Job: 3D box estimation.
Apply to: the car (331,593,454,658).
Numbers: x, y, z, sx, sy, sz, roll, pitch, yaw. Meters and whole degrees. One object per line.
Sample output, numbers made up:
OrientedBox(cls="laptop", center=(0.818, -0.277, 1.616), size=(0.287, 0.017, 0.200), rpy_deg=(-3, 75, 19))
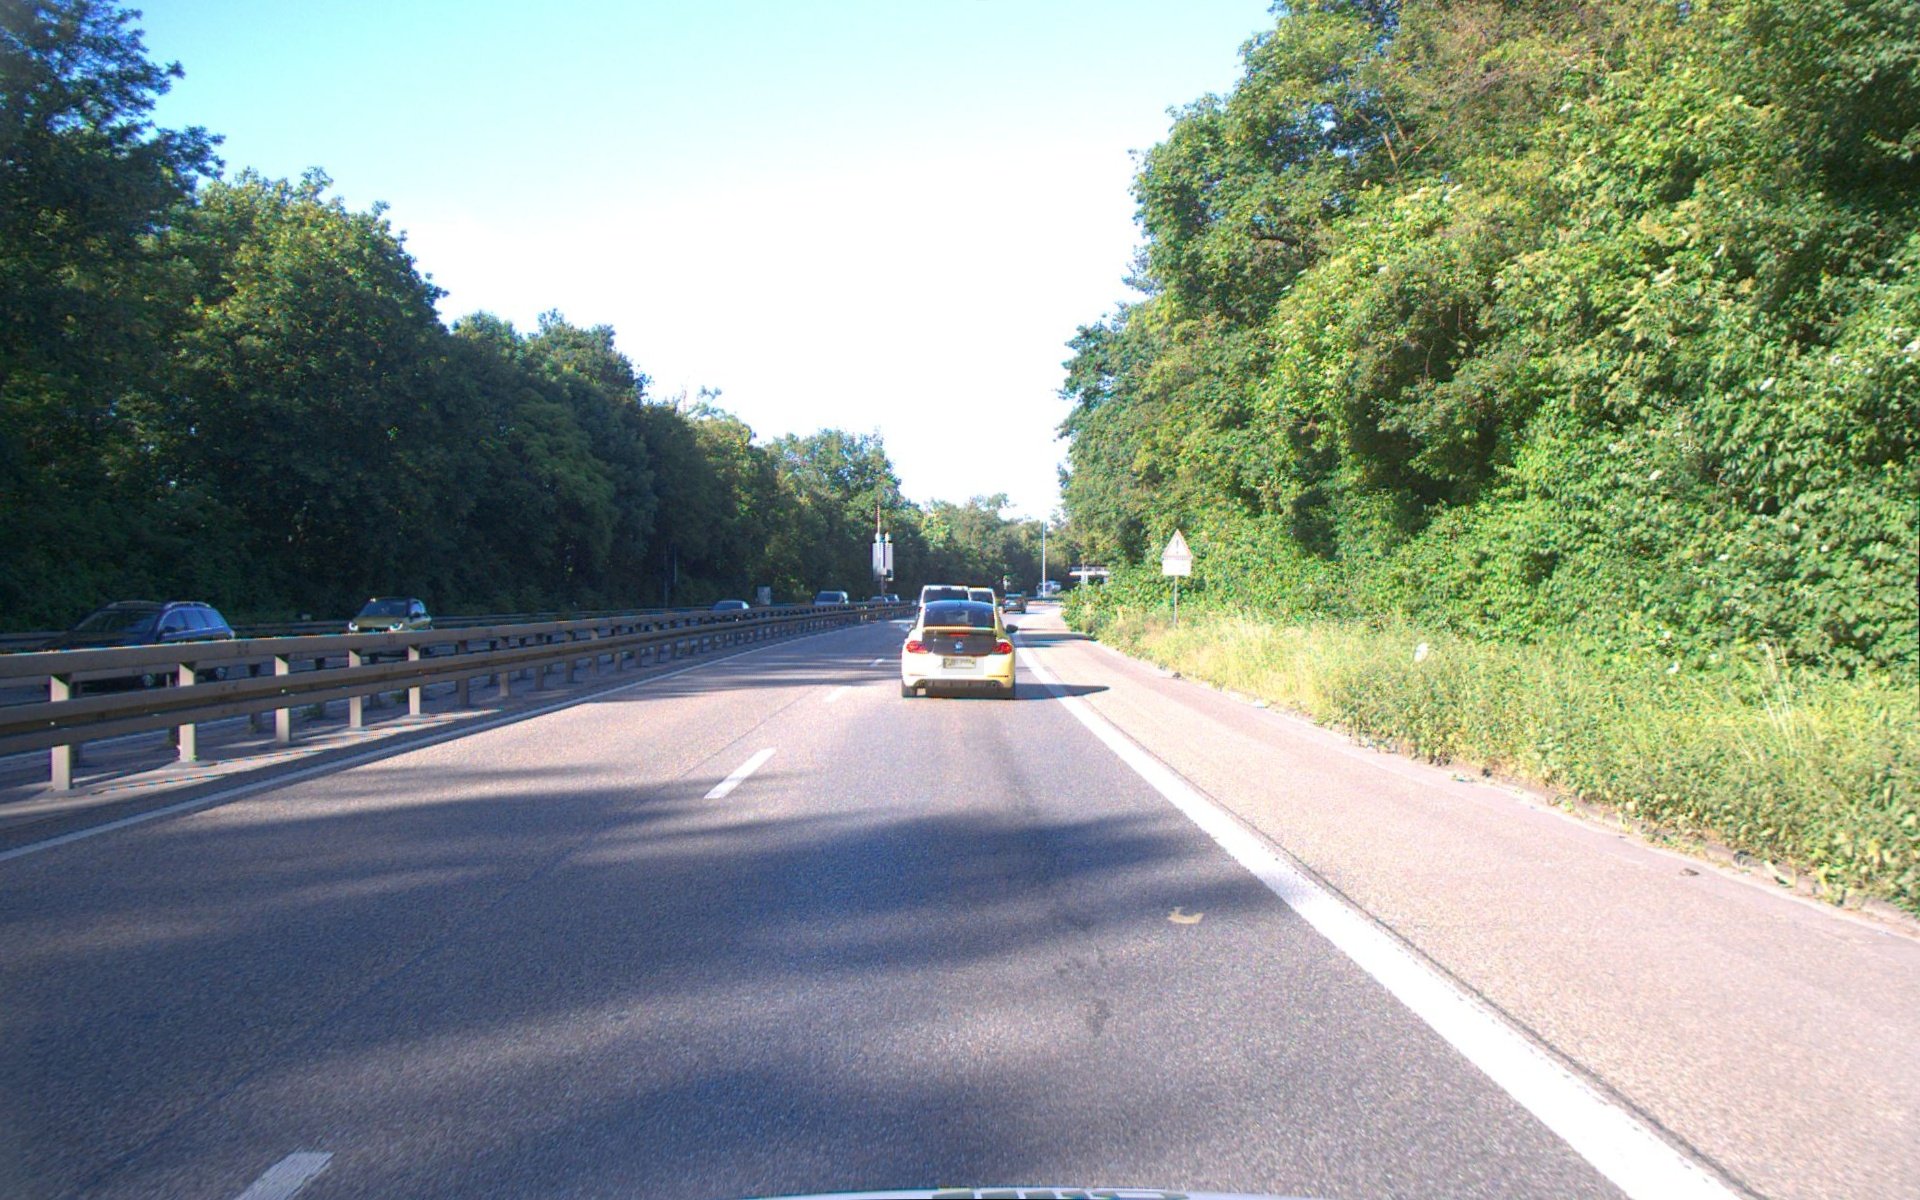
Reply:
OrientedBox(cls="car", center=(-15.344, 0.651, 44.930), size=(1.953, 1.612, 3.999), rpy_deg=(-2, 0, -1))

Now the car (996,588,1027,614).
OrientedBox(cls="car", center=(4.086, 0.051, 131.076), size=(2.216, 1.908, 5.078), rpy_deg=(2, 1, 3))

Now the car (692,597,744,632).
OrientedBox(cls="car", center=(-10.928, 0.623, 74.910), size=(1.564, 1.478, 4.346), rpy_deg=(-2, 0, 1))

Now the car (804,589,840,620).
OrientedBox(cls="car", center=(-9.234, 0.261, 111.011), size=(1.849, 1.936, 5.415), rpy_deg=(-2, 0, 0))

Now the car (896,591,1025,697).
OrientedBox(cls="car", center=(0.001, 0.645, 26.241), size=(1.899, 1.534, 3.422), rpy_deg=(1, 0, 0))

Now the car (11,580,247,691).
OrientedBox(cls="car", center=(-14.745, 0.575, 29.679), size=(1.953, 1.780, 4.549), rpy_deg=(-2, 0, -1))

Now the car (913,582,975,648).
OrientedBox(cls="car", center=(-0.443, 0.407, 48.616), size=(1.705, 1.862, 3.423), rpy_deg=(0, 0, 1))

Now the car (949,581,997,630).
OrientedBox(cls="car", center=(0.557, 0.233, 72.725), size=(1.953, 2.049, 3.999), rpy_deg=(-2, 0, -1))

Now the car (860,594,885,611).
OrientedBox(cls="car", center=(-7.323, 0.185, 138.724), size=(1.564, 1.337, 3.912), rpy_deg=(-2, 0, 4))
